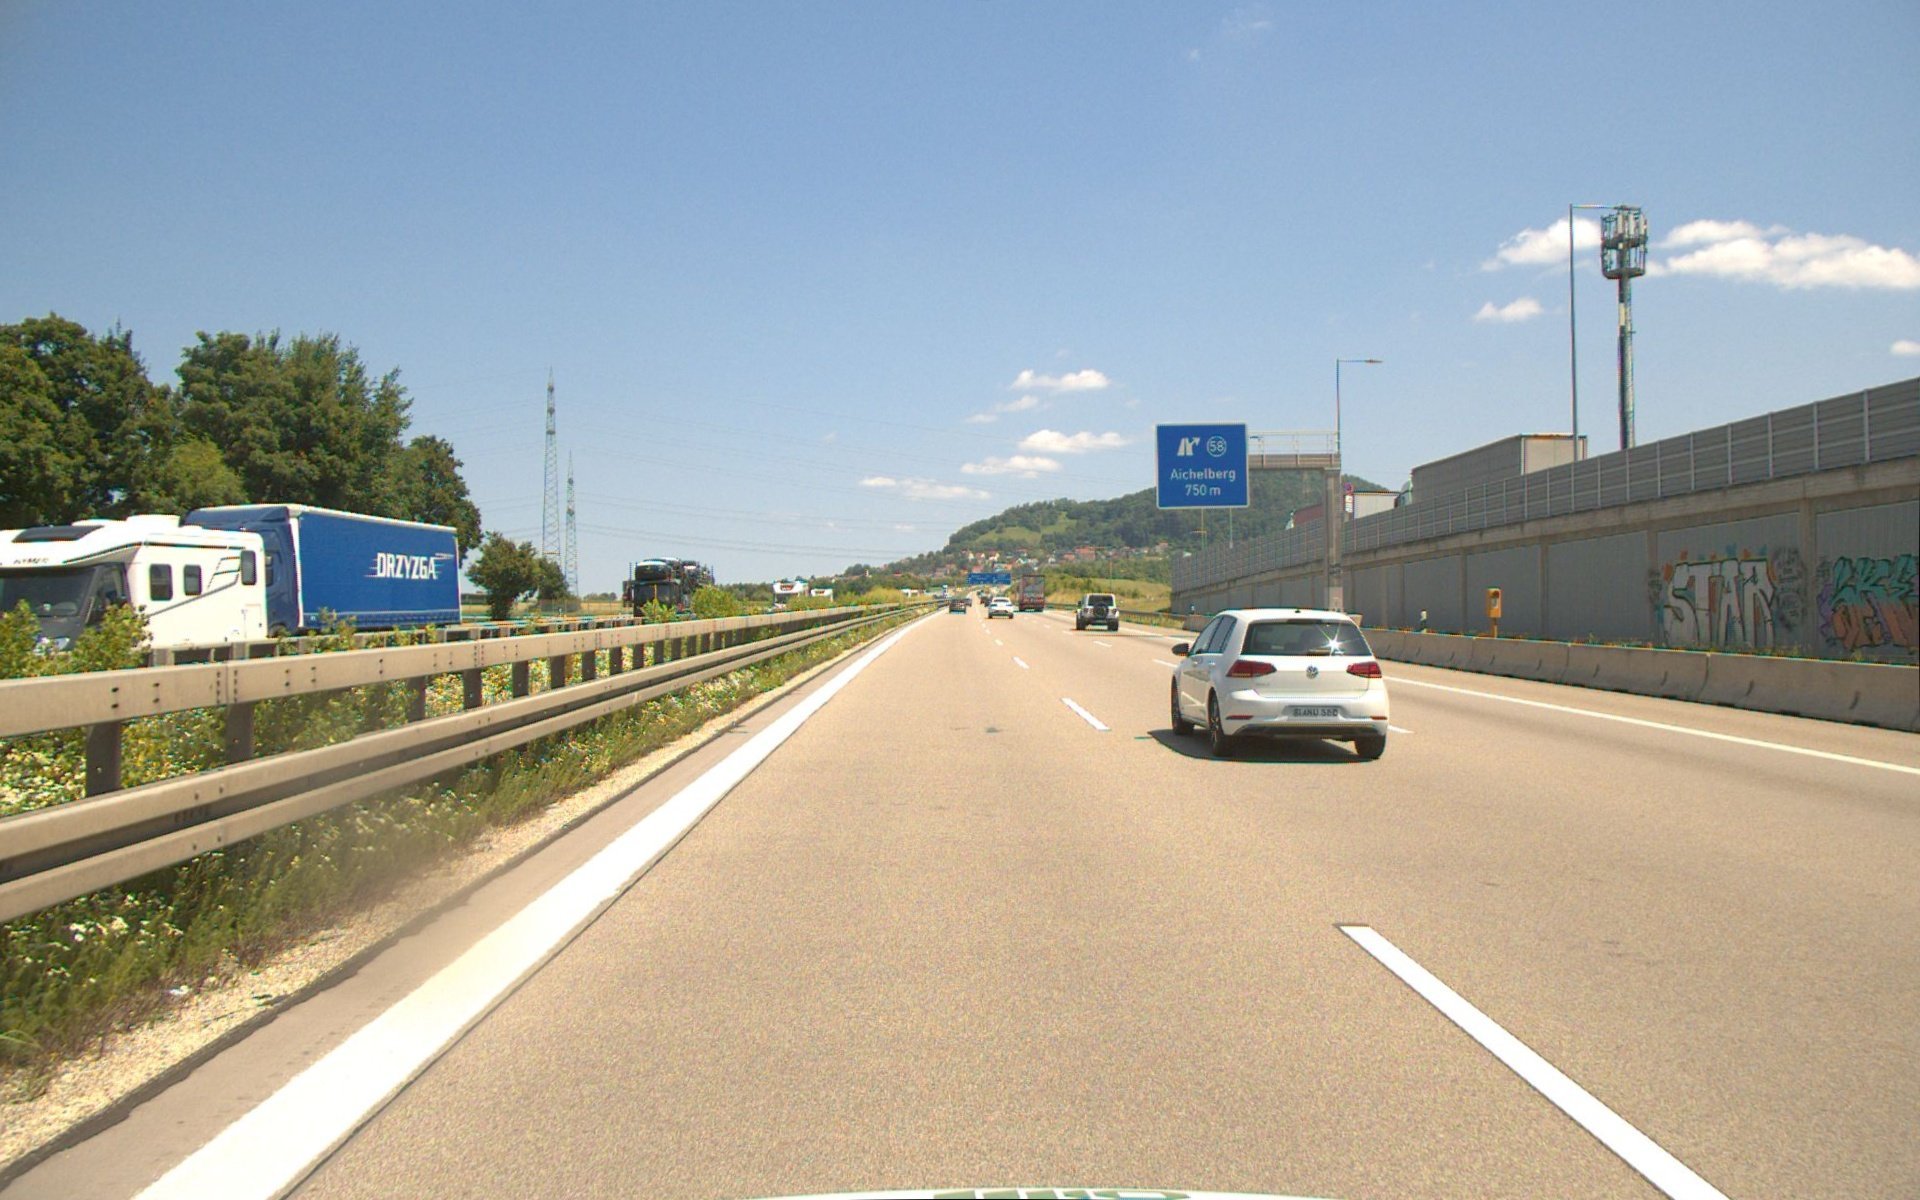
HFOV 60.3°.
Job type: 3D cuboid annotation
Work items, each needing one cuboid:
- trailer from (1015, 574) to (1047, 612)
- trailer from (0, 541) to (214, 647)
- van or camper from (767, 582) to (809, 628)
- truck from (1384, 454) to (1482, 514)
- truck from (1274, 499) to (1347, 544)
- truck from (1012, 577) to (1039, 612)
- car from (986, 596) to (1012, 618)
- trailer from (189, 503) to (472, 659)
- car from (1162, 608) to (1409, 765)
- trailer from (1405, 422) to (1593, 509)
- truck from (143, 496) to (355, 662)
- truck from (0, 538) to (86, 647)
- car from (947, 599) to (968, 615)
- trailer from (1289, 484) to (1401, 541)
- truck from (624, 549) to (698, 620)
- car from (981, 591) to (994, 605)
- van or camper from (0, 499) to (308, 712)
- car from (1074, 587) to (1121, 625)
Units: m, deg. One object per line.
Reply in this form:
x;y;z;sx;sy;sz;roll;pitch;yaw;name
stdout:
8.109;-0.745;190.748;2.670;4.227;11.802;2;-1;-2;trailer
-35.245;-0.173;67.875;2.711;3.845;14.409;1;-1;0;trailer
-13.221;0.390;127.626;2.472;3.324;7.374;-2;0;0;van or camper
21.775;-5.304;76.501;2.668;2.269;6.034;1;-1;-1;truck
21.206;-4.731;100.429;2.653;2.243;7.285;1;-1;-2;truck
7.839;-0.662;198.079;2.697;4.091;6.785;1;-1;-2;truck
2.953;0.535;126.500;1.875;1.608;5.230;1;-1;0;car
-17.682;-0.399;48.111;2.784;3.799;14.527;1;-1;-1;trailer
3.377;0.842;18.036;1.739;1.458;4.690;1;-1;0;car
21.984;-5.401;68.724;2.664;2.263;14.522;1;0;-2;trailer
-17.570;-0.468;41.290;2.790;3.810;5.692;1;-1;-1;truck
-35.211;-0.279;60.904;2.739;3.849;6.098;1;-1;0;truck
-0.256;0.683;160.340;1.952;1.413;4.000;1;-1;1;car
21.407;-4.801;93.039;2.664;2.263;14.015;1;0;-2;trailer
-17.267;-0.820;95.987;2.621;3.886;9.151;1;-1;0;truck
4.352;-0.335;262.231;1.952;2.049;4.000;1;-1;1;car
-13.302;0.090;27.363;2.224;3.021;6.952;-2;0;0;van or camper
6.946;0.301;83.825;1.993;1.836;4.250;-1;0;0;car
